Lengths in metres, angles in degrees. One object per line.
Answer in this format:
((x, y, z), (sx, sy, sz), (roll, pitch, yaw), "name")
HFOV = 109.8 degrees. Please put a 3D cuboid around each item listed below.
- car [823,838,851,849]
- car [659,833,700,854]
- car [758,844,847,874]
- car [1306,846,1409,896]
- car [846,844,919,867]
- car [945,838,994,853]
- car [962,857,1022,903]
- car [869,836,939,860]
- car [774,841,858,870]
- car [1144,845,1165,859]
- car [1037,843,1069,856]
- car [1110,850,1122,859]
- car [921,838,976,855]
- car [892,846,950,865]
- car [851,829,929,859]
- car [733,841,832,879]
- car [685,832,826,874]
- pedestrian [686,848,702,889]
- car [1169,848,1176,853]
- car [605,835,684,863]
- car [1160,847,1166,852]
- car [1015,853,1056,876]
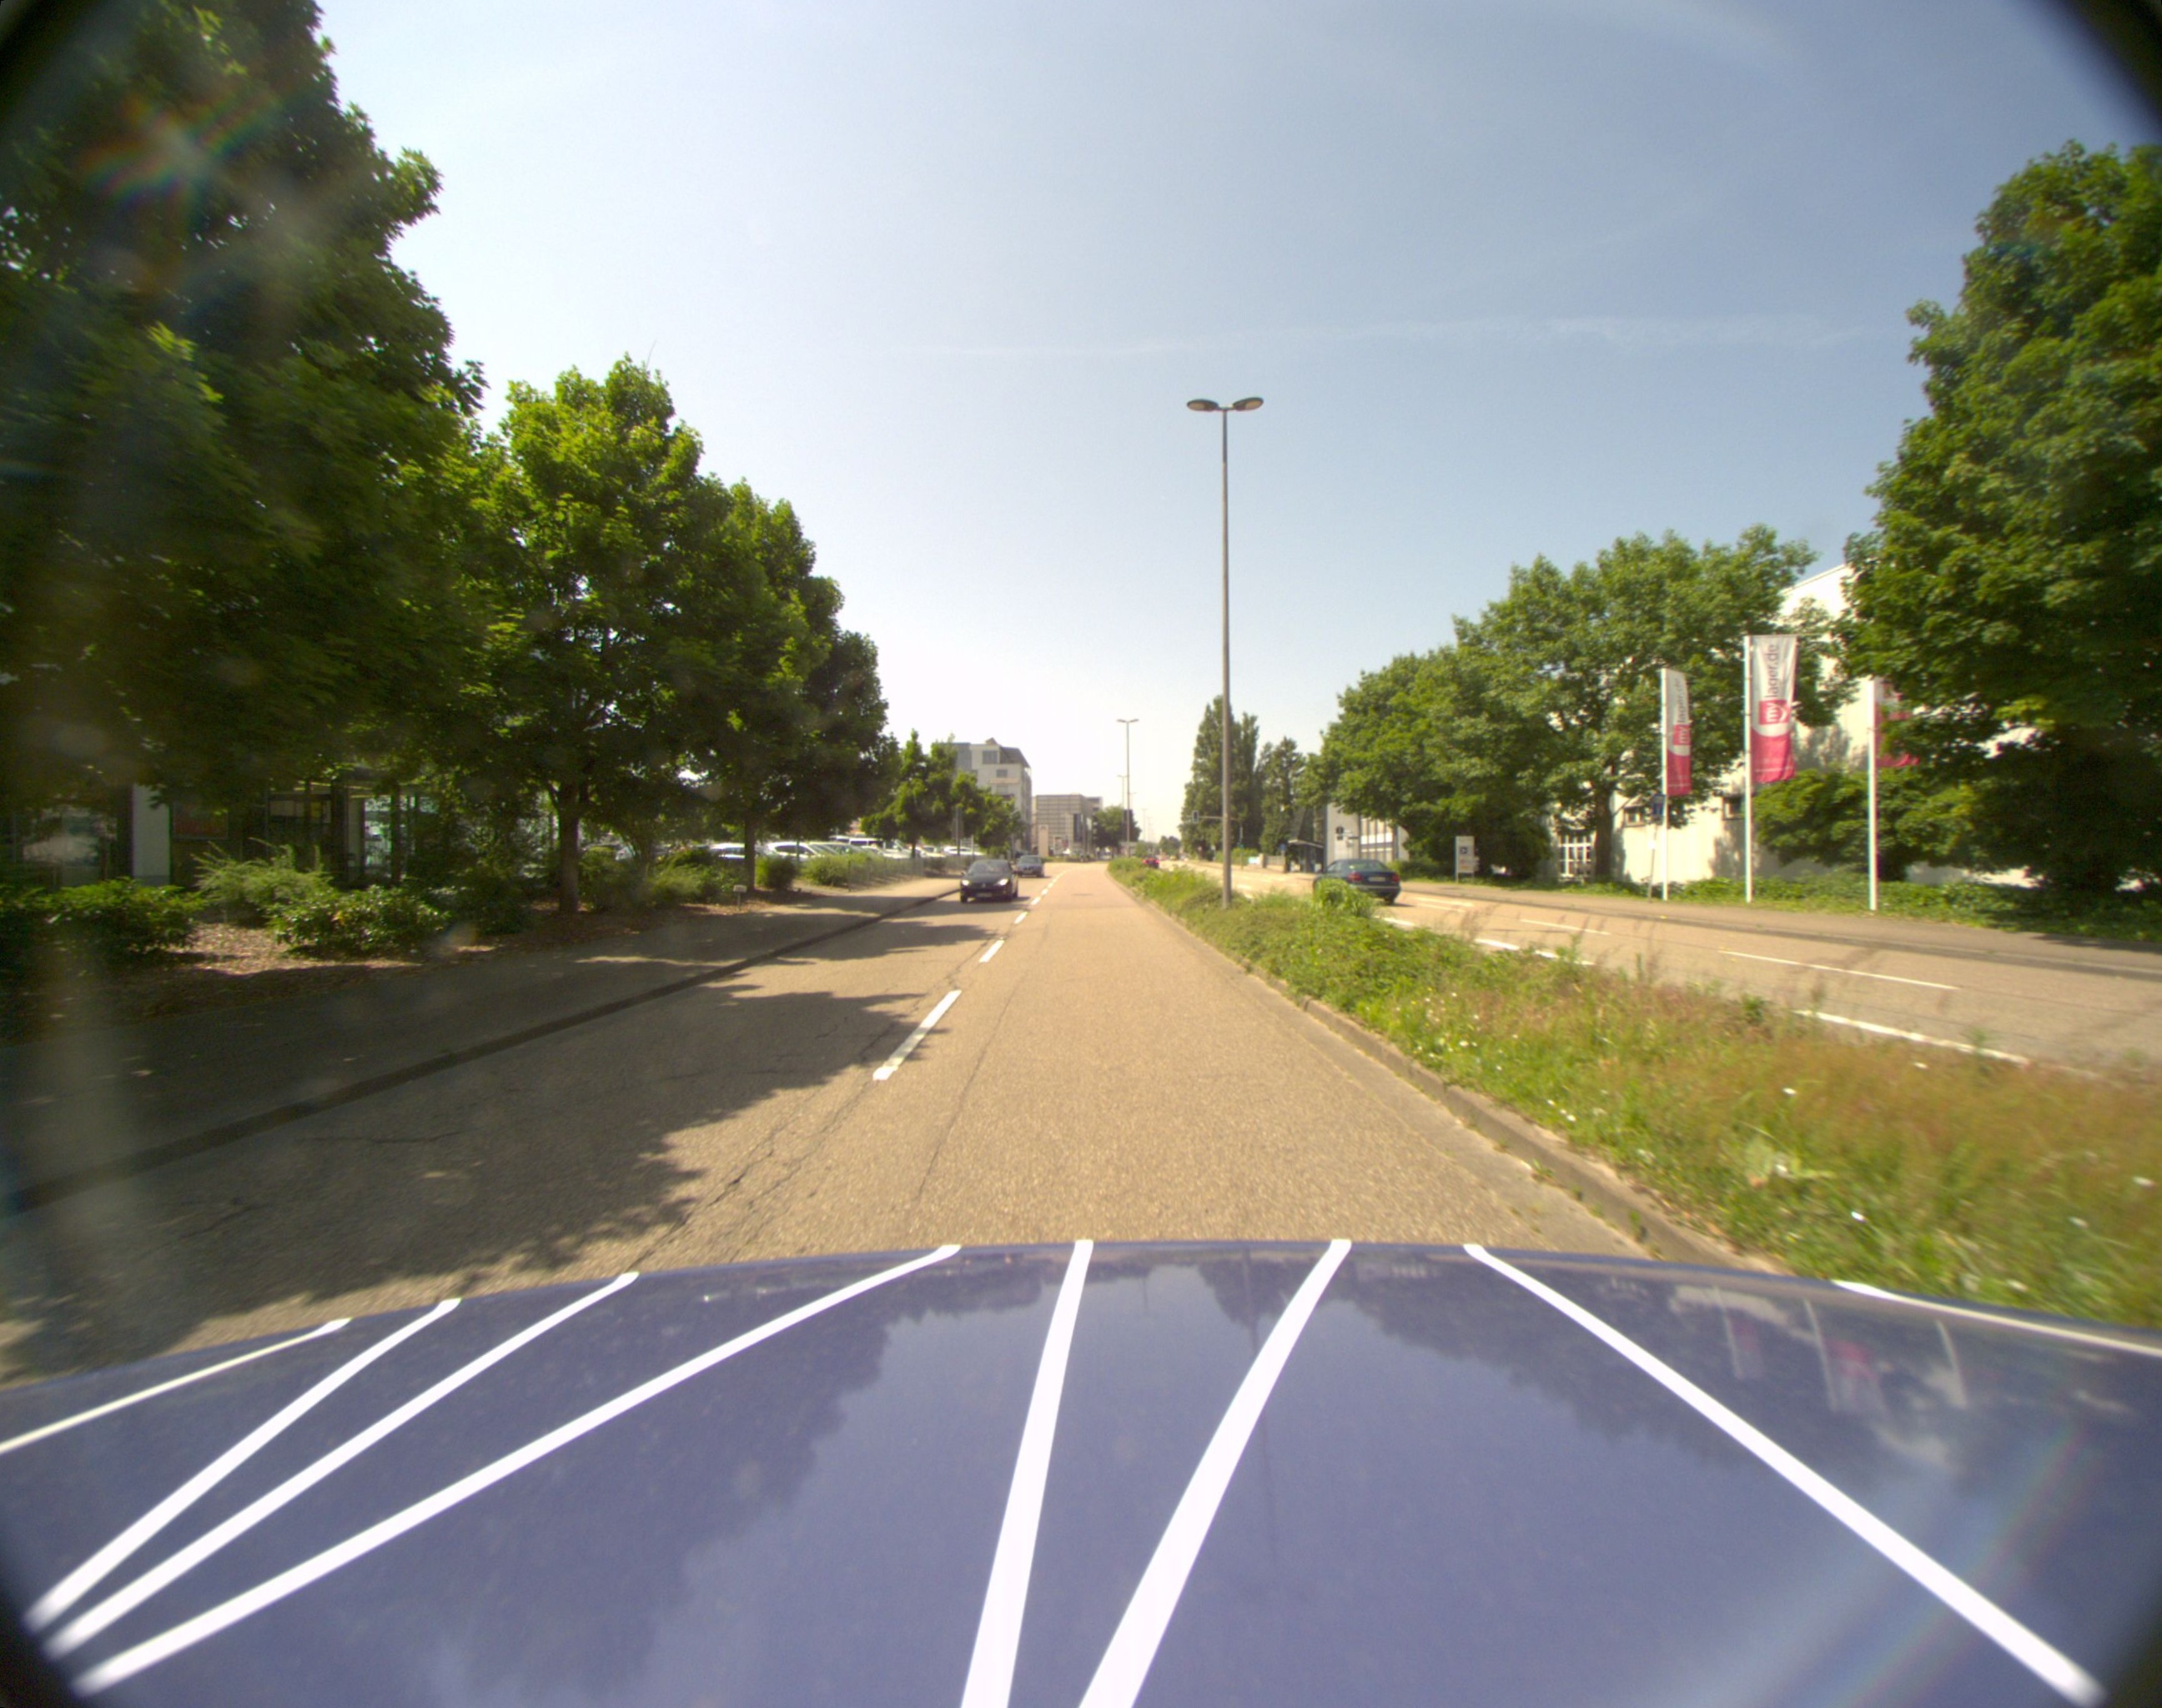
((-30.968, -1.314, 96.636), (1.998, 1.378, 4.142), (-1, 1, 3), "car")
((-28.009, -0.737, 53.112), (1.268, 1.412, 2.957), (1, 1, 1), "car")
((-14.583, 0.242, 39.906), (3.998, 1.525, 1.826), (0, 2, -3), "car")
((8.707, 0.482, 24.315), (1.726, 1.408, 4.246), (2, 0, 0), "car")
((-12.289, 0.100, 47.148), (3.996, 1.381, 1.827), (0, 1, 2), "car")
((-10.932, -0.832, 74.626), (4.587, 1.496, 1.698), (0, 1, 1), "car")
((-2.941, 0.823, 25.676), (1.641, 1.349, 3.498), (-2, 1, -2), "car")
((-12.266, -0.404, 52.691), (4.377, 1.584, 1.827), (0, 1, 2), "car")
((-14.670, 0.056, 42.173), (3.996, 1.525, 1.826), (0, 2, 2), "car")
((7.354, -0.233, 76.151), (1.733, 1.316, 4.149), (1, 1, 1), "car")
((-4.361, -0.647, 118.059), (4.704, 1.787, 2.184), (-3, 0, 6), "car")
((5.621, 0.019, 121.022), (1.867, 1.390, 4.000), (0, 0, 3), "car")
((-10.920, -0.610, 62.785), (4.179, 1.413, 1.698), (0, 1, 4), "car")
((-11.977, 0.098, 57.066), (4.006, 1.413, 1.698), (0, 1, 2), "car")
((-12.515, -0.627, 50.045), (4.627, 1.913, 1.827), (0, 1, 2), "car")
((-14.304, 0.269, 36.596), (3.998, 1.587, 1.826), (-2, 1, -2), "car")
((-13.437, -0.049, 31.590), (5.003, 1.587, 2.022), (1, 1, -1), "car")
((-15.956, 0.583, 31.358), (0.448, 1.663, 0.416), (1, 1, -2), "pedestrian")
((28.873, -1.211, 238.770), (1.898, 1.551, 4.287), (1, 1, 3), "car")
((-23.911, -0.263, 41.744), (1.649, 1.433, 4.002), (1, 0, 8), "car")
((26.316, -1.452, 244.068), (1.763, 1.410, 4.092), (1, 0, 3), "car")
((-2.807, 0.632, 47.693), (1.710, 1.316, 3.958), (1, 1, 9), "car")
